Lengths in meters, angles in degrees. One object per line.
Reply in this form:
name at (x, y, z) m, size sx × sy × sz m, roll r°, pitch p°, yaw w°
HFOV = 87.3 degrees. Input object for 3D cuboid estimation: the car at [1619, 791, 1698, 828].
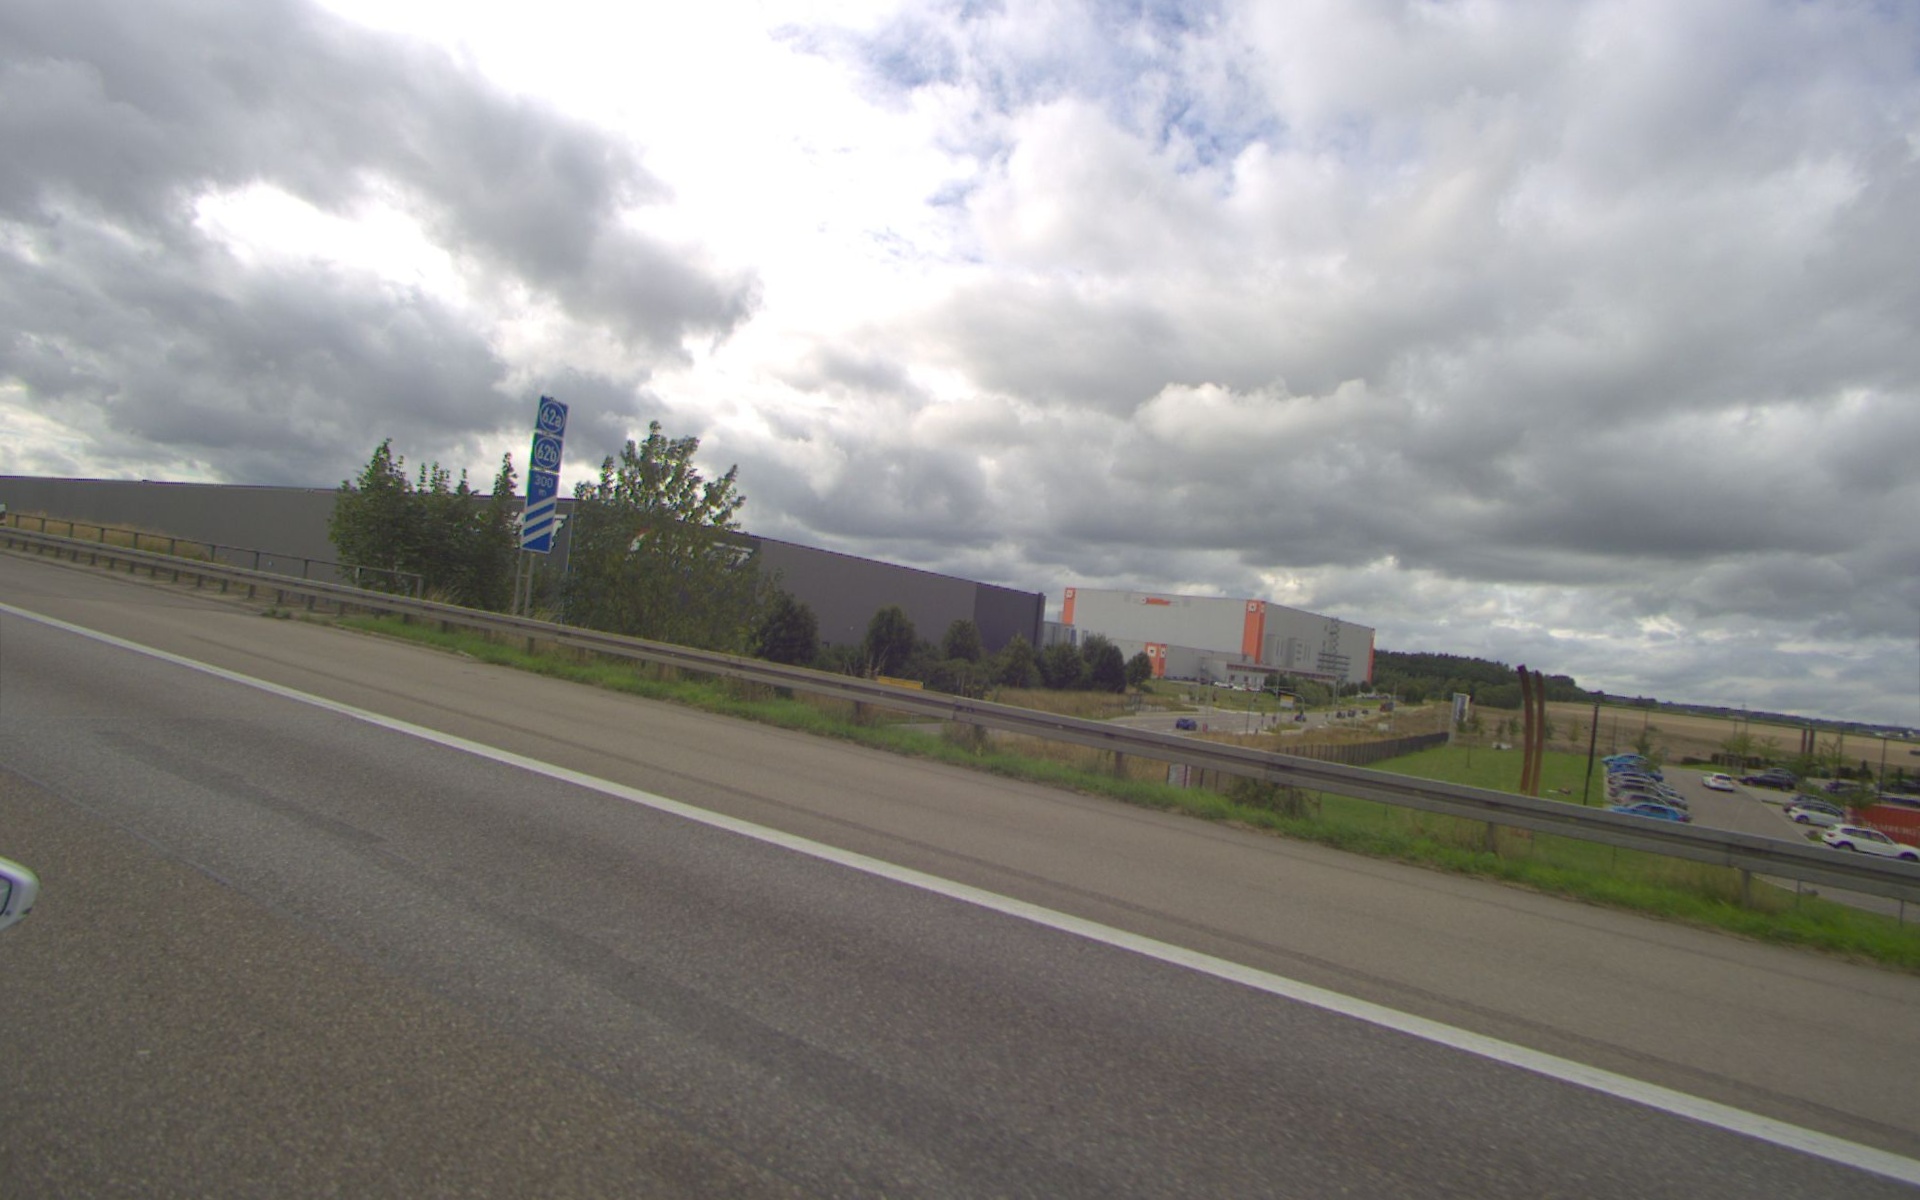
car at (44.990, 13.492, 64.847) m, size 3.933 × 1.511 × 1.679 m, roll 6°, pitch -3°, yaw 31°

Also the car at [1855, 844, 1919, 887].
car at (47.958, 13.581, 50.716) m, size 3.881 × 1.511 × 1.679 m, roll 6°, pitch -3°, yaw 31°

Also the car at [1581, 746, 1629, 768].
car at (68.004, 16.536, 106.109) m, size 3.930 × 1.511 × 1.681 m, roll 7°, pitch -3°, yaw 27°

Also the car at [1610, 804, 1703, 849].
car at (37.717, 12.258, 54.599) m, size 3.933 × 1.511 × 1.679 m, roll 6°, pitch -3°, yaw 31°

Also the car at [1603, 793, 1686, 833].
car at (41.491, 12.896, 61.108) m, size 3.933 × 1.511 × 1.679 m, roll 6°, pitch -3°, yaw 31°

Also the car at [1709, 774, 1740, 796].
car at (67.764, 16.358, 89.205) m, size 1.653 × 1.511 × 3.995 m, roll 6°, pitch -3°, yaw 33°

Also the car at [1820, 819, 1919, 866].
car at (53.635, 14.204, 59.038) m, size 4.395 × 1.721 × 1.679 m, roll 6°, pitch -3°, yaw 31°
